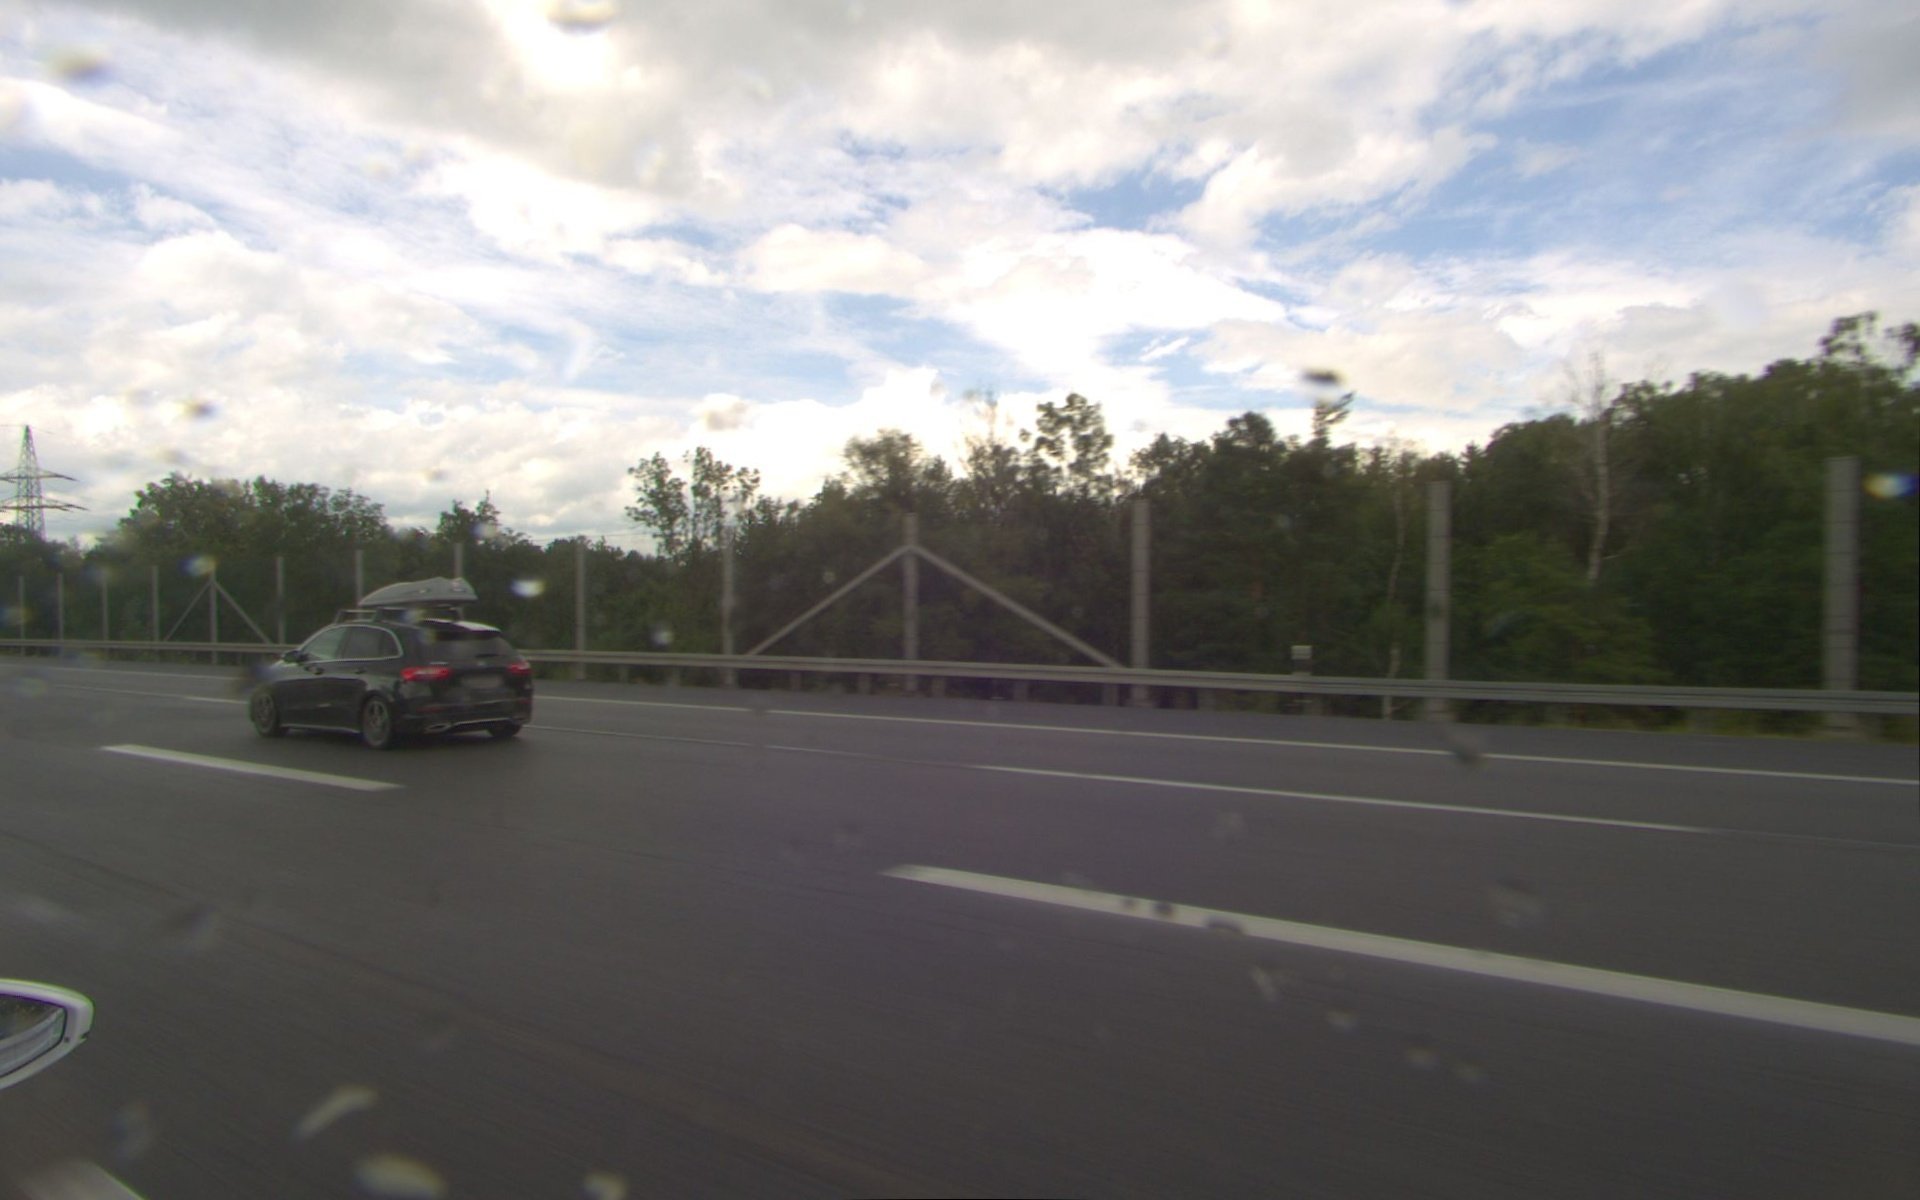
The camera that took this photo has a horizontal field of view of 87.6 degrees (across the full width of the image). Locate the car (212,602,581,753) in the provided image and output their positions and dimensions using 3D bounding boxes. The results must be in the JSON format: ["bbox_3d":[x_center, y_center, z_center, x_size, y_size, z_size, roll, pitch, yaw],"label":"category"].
[{"bbox_3d":[-7.488,0.861,13.167,4.991,1.627,2.101,0,0,32],"label":"car"}]
